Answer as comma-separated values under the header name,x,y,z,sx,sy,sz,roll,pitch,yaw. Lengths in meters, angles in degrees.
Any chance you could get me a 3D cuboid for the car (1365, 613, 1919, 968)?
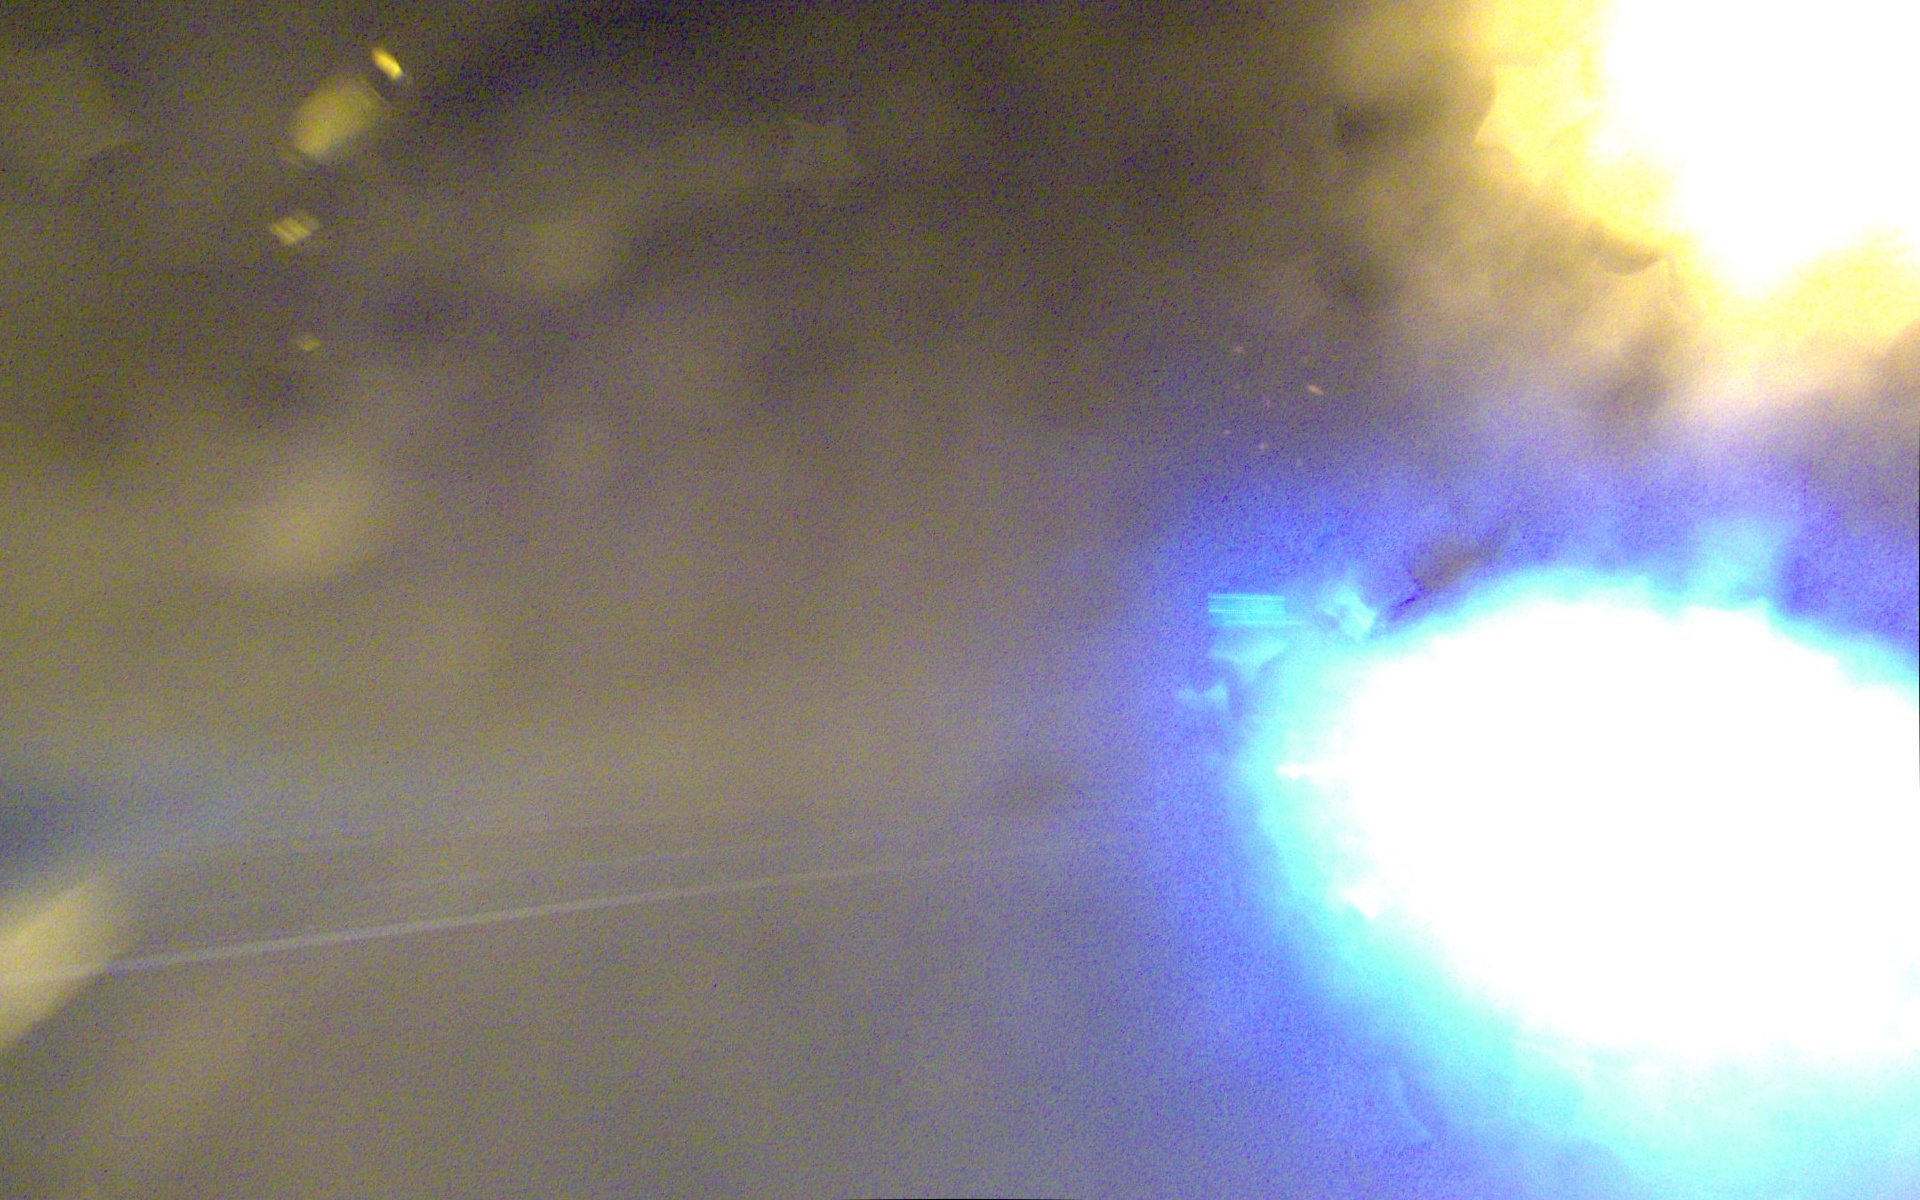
name,x,y,z,sx,sy,sz,roll,pitch,yaw
car,4.331,0.826,5.799,3.953,1.416,1.622,1,0,-30
